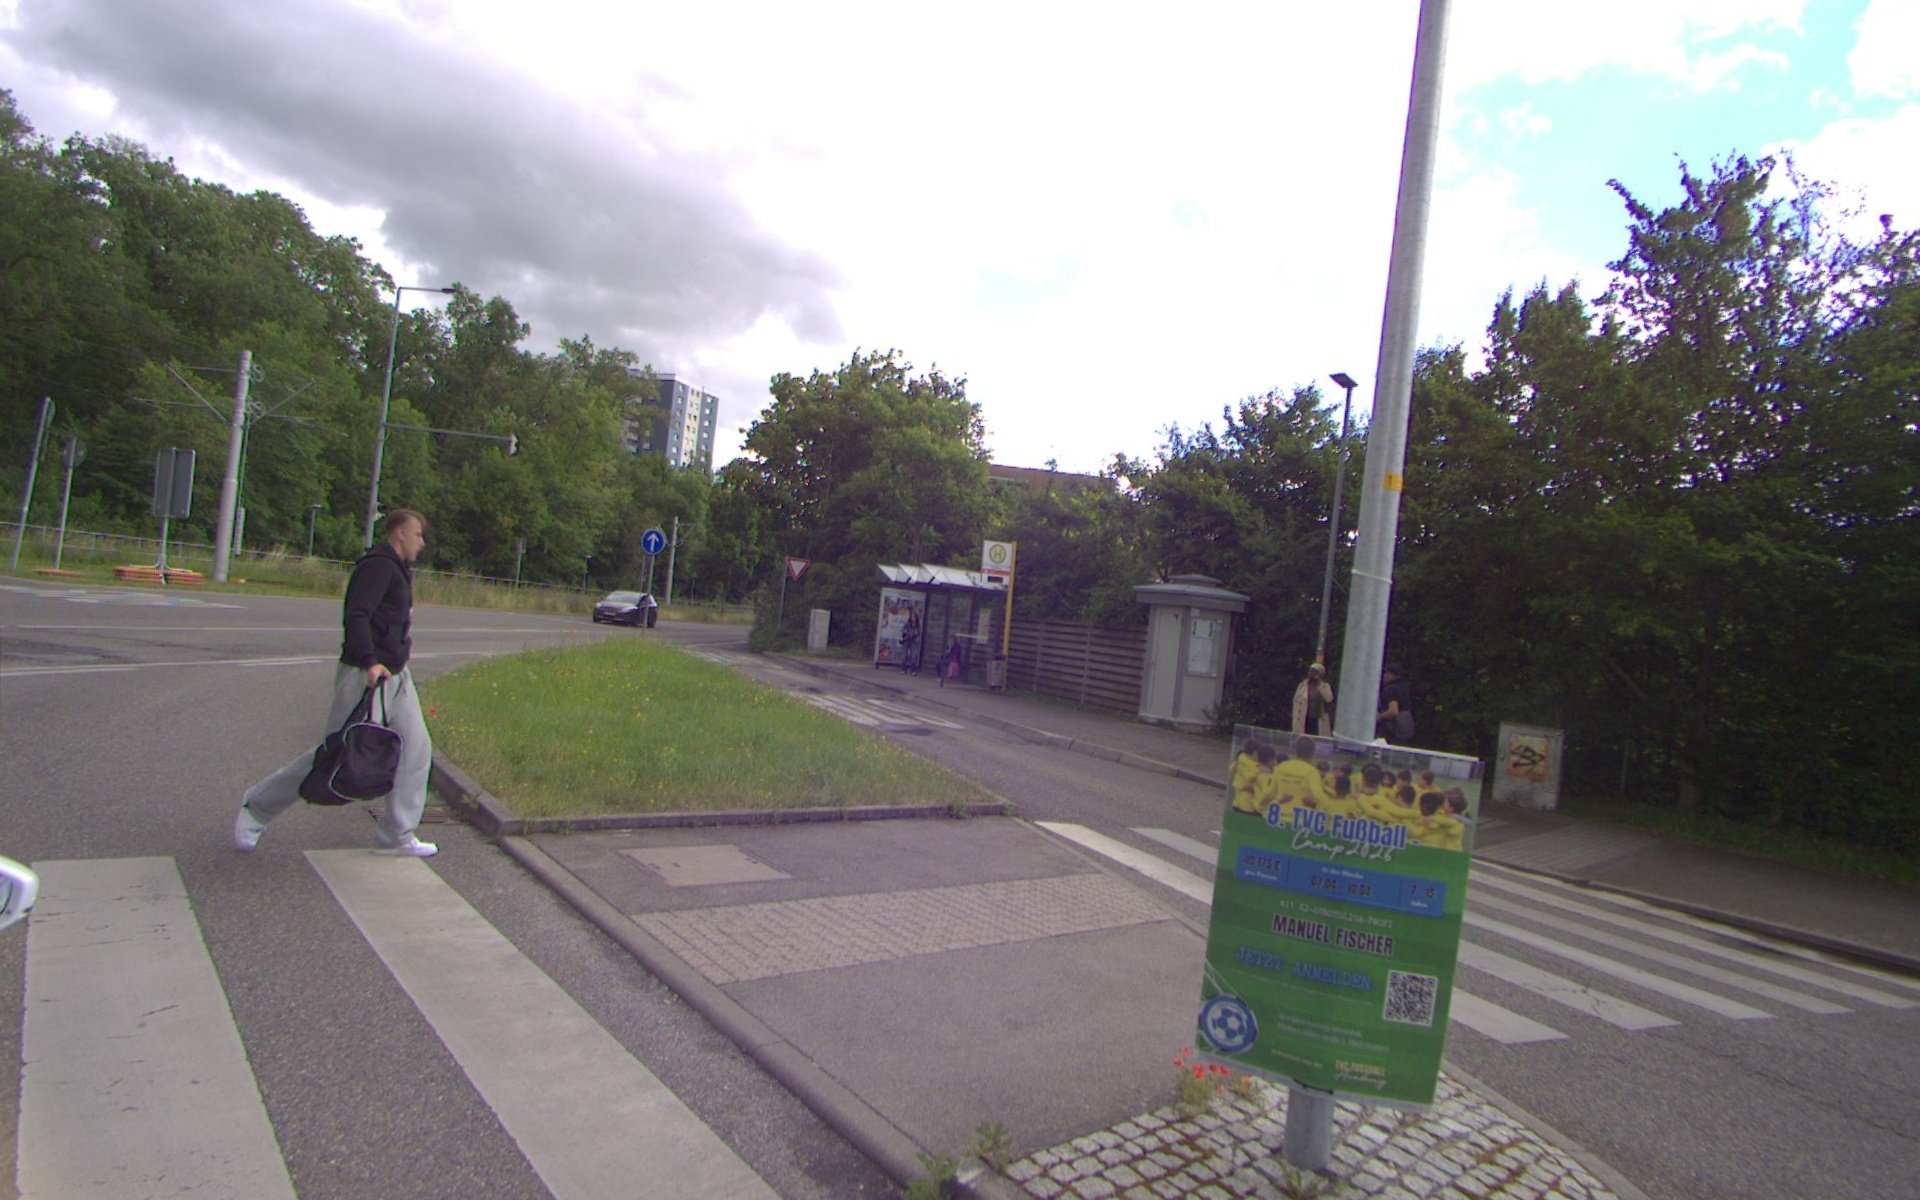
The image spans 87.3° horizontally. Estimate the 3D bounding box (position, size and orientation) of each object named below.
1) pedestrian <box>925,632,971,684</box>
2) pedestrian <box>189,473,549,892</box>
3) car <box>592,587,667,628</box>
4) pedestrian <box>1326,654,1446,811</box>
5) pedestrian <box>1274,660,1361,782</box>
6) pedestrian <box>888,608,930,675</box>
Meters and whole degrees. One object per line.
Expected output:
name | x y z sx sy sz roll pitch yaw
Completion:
pedestrian | -0.305 1.432 24.918 0.742 1.184 0.766 7 -1 -30
pedestrian | -2.883 0.362 4.969 1.043 1.767 0.957 6 -1 27
car | -14.140 0.379 43.300 1.729 1.451 4.430 7 -2 -2
pedestrian | 5.495 1.692 12.997 0.850 1.844 0.975 7 -1 -38
pedestrian | 5.130 1.728 14.448 0.680 1.613 0.765 7 -1 -33
pedestrian | -1.336 1.088 26.411 0.760 1.669 0.684 7 -1 -19
